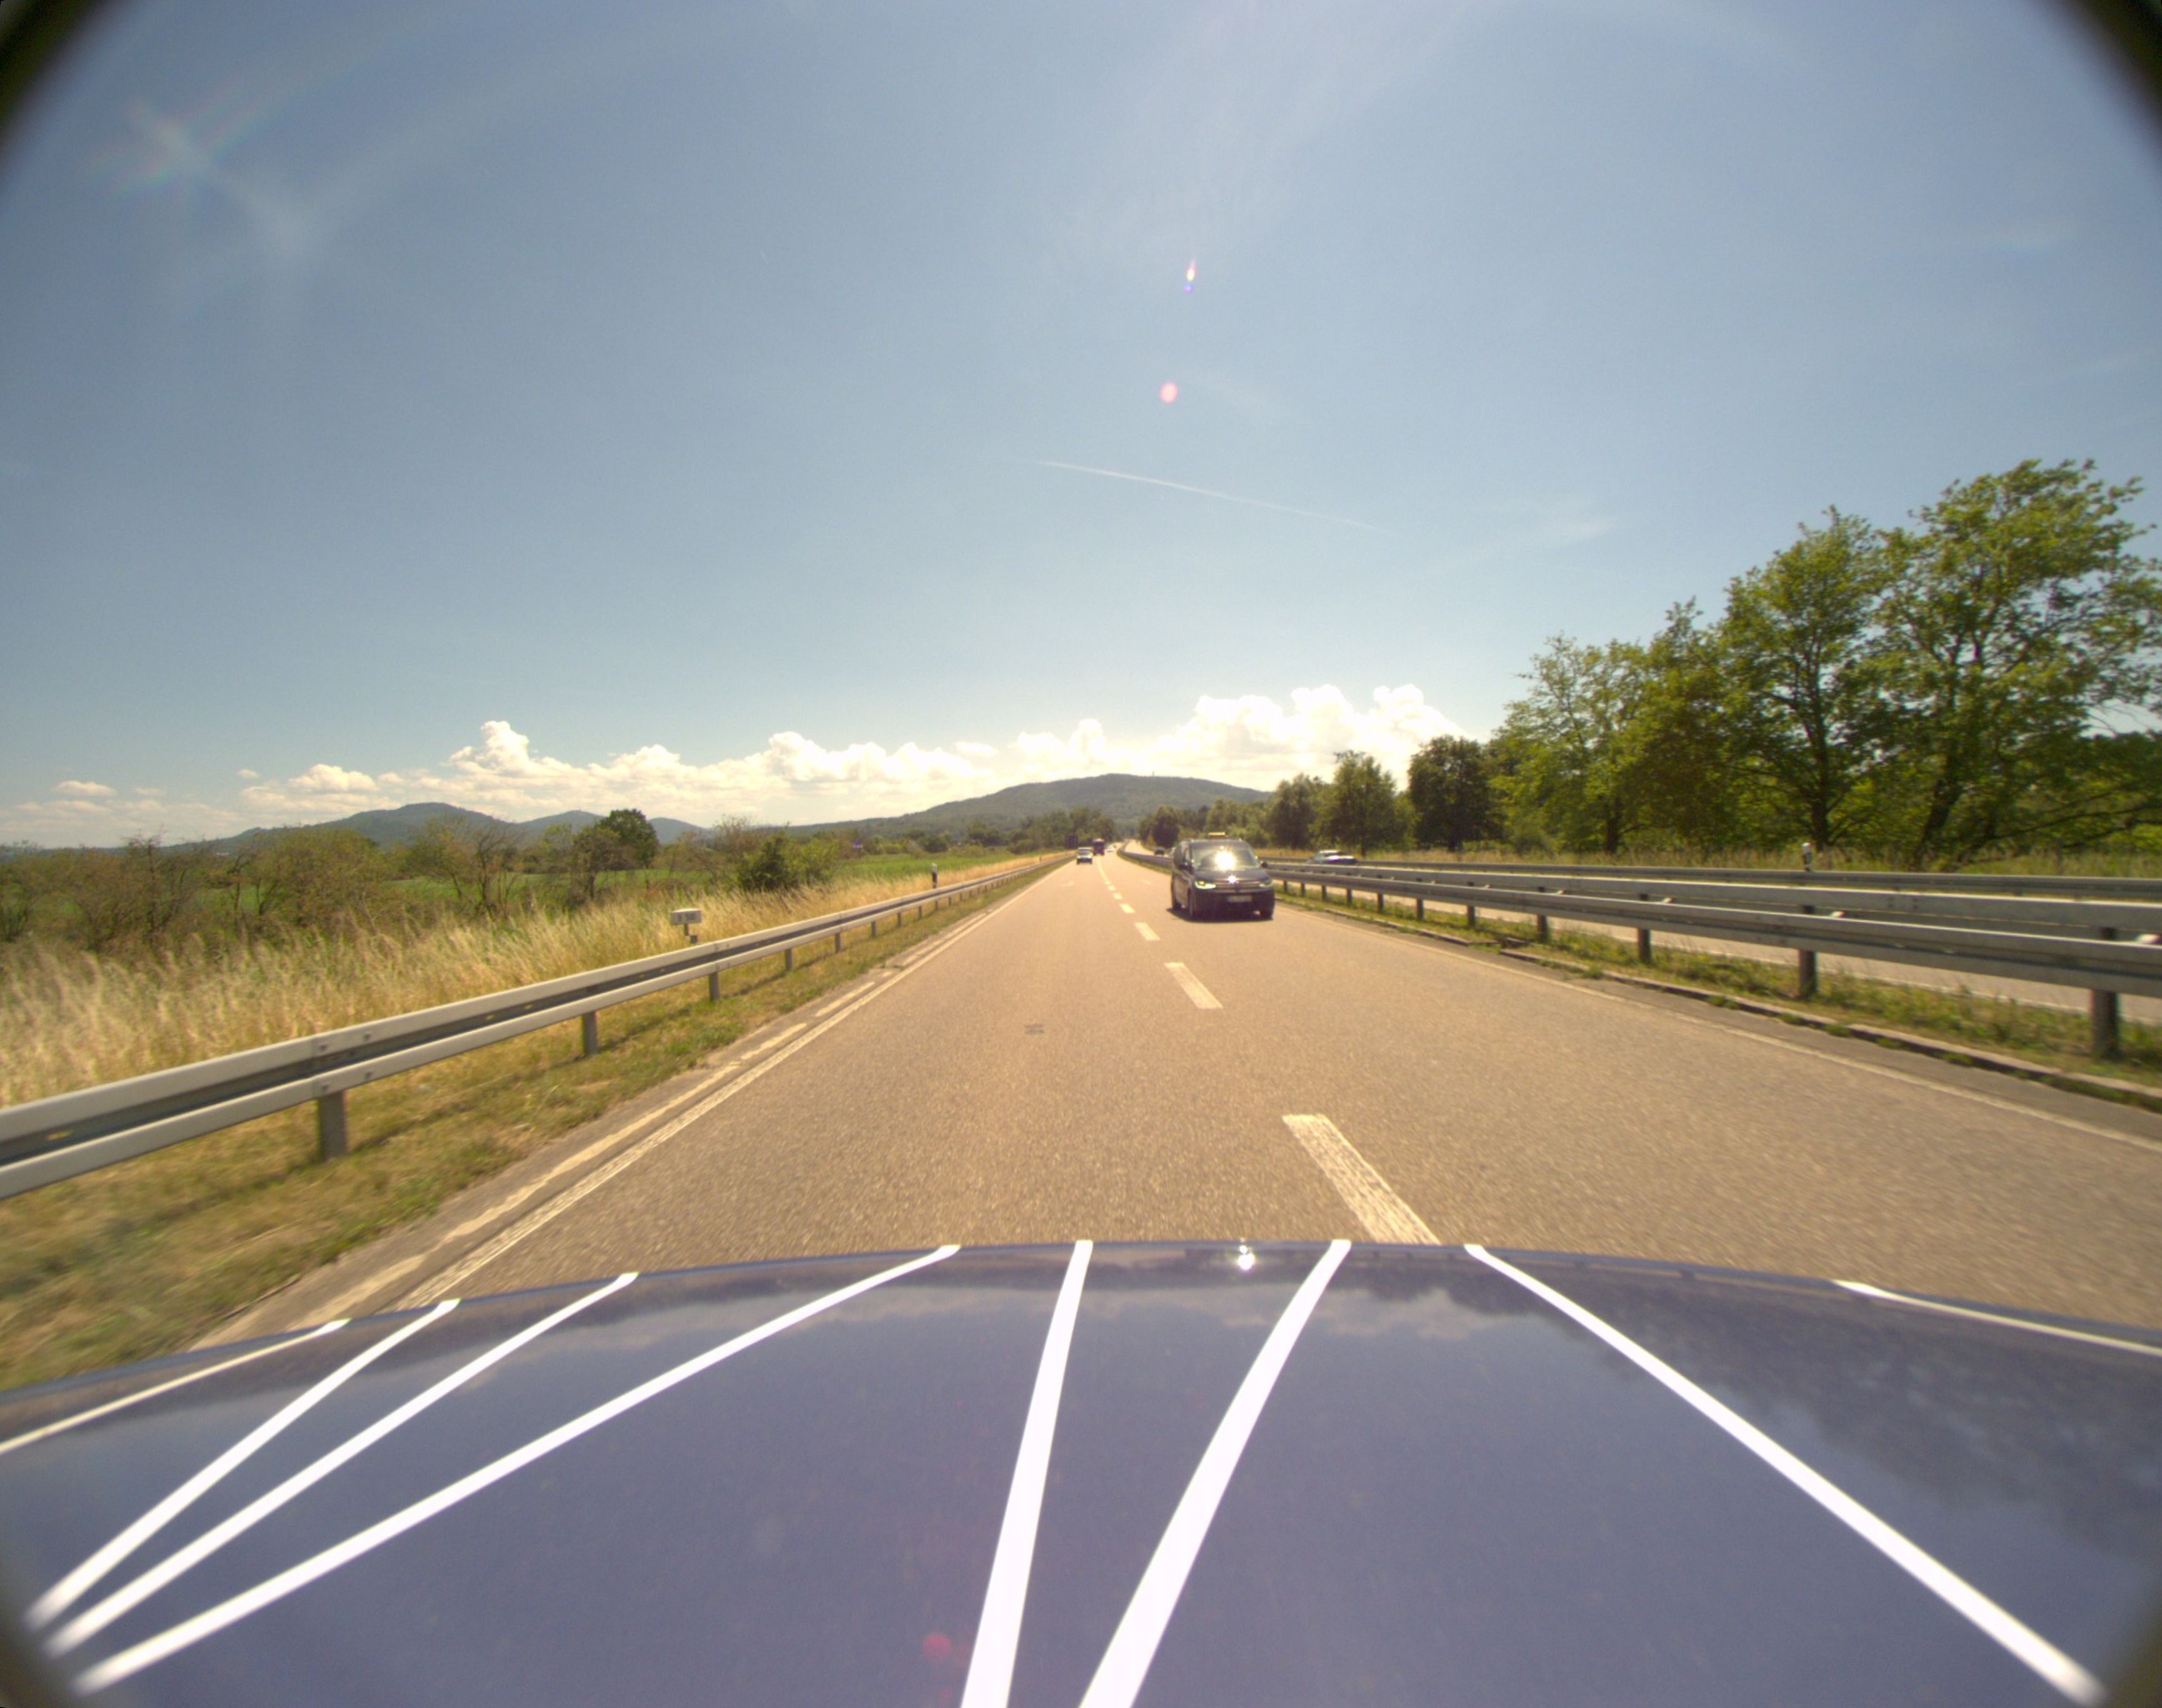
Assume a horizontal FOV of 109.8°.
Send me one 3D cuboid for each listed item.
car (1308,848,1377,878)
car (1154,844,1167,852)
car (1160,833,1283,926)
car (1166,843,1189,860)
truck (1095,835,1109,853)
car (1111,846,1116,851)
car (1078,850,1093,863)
[{"bbox_3d":[12.958,0.432,37.963,1.929,1.377,4.658,-1,0,1],"label":"car"},{"bbox_3d":[16.322,-1.330,156.515,1.999,1.599,4.962,-1,1,0],"label":"car"},{"bbox_3d":[3.207,0.512,18.531,1.859,1.876,5.572,-1,0,-1],"label":"car"},{"bbox_3d":[11.189,-0.302,88.118,1.985,1.797,4.968,-2,0,0],"label":"car"},{"bbox_3d":[4.966,-2.328,176.702,2.826,4.143,9.948,-2,1,3],"label":"truck"},{"bbox_3d":[10.221,-1.828,240.932,1.619,1.545,3.485,-2,1,3],"label":"car"},{"bbox_3d":[0.497,0.229,87.745,1.577,1.387,3.485,-2,1,3],"label":"car"}]
